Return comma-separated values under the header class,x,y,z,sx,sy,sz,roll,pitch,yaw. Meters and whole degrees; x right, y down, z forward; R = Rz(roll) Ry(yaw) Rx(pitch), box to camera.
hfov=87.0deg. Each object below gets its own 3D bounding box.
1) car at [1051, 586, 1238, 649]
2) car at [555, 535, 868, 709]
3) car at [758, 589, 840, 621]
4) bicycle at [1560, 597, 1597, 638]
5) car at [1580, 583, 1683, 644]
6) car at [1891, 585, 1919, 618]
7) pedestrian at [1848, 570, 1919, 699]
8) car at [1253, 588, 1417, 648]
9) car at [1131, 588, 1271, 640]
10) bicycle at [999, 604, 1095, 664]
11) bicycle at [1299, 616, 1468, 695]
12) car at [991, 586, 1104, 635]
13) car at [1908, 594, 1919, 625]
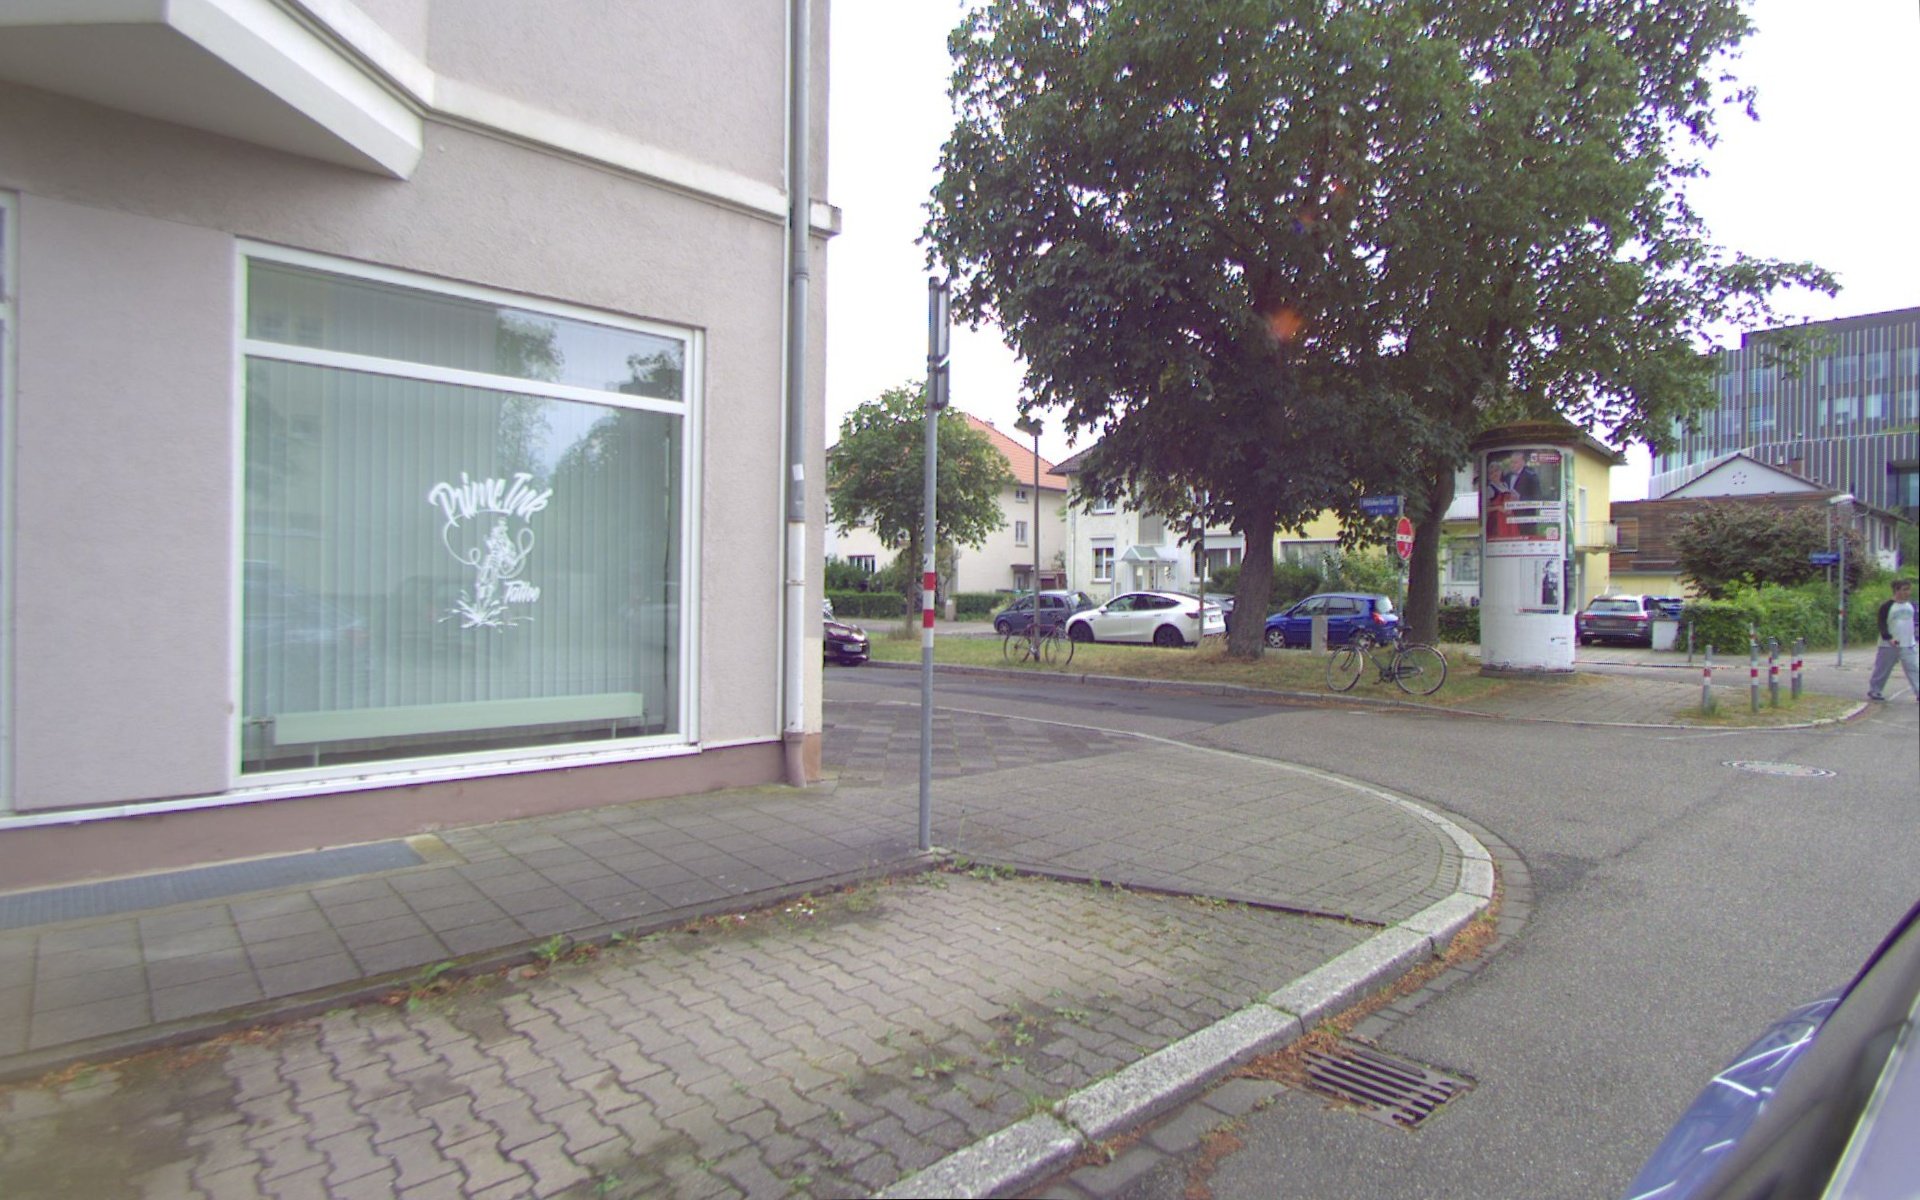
class,x,y,z,sx,sy,sz,roll,pitch,yaw
car,5.014,0.407,27.962,4.867,1.586,1.873,1,1,43
car,-3.638,0.252,14.181,4.995,2.021,1.855,0,-1,44
car,-7.539,0.223,47.116,3.928,1.372,1.777,1,2,44
bicycle,18.720,0.520,30.618,0.482,1.210,2.141,0,0,44
car,19.453,0.339,29.260,1.837,1.631,3.937,1,1,44
car,58.413,0.097,60.413,1.965,1.860,3.995,-3,3,-40
pedestrian,14.193,0.494,15.107,0.864,1.859,1.216,1,0,9
car,10.874,0.465,29.558,1.676,1.586,4.201,-2,2,-43
car,7.763,0.419,32.841,4.152,1.518,1.694,0,3,43
bicycle,1.659,0.625,19.550,0.657,1.080,1.880,0,0,-44
bicycle,6.000,0.760,14.430,2.173,0.997,0.505,0,2,41
car,3.174,0.349,37.141,3.870,1.621,1.694,0,3,42
car,51.153,0.480,52.896,3.933,1.415,1.996,-3,3,-42
